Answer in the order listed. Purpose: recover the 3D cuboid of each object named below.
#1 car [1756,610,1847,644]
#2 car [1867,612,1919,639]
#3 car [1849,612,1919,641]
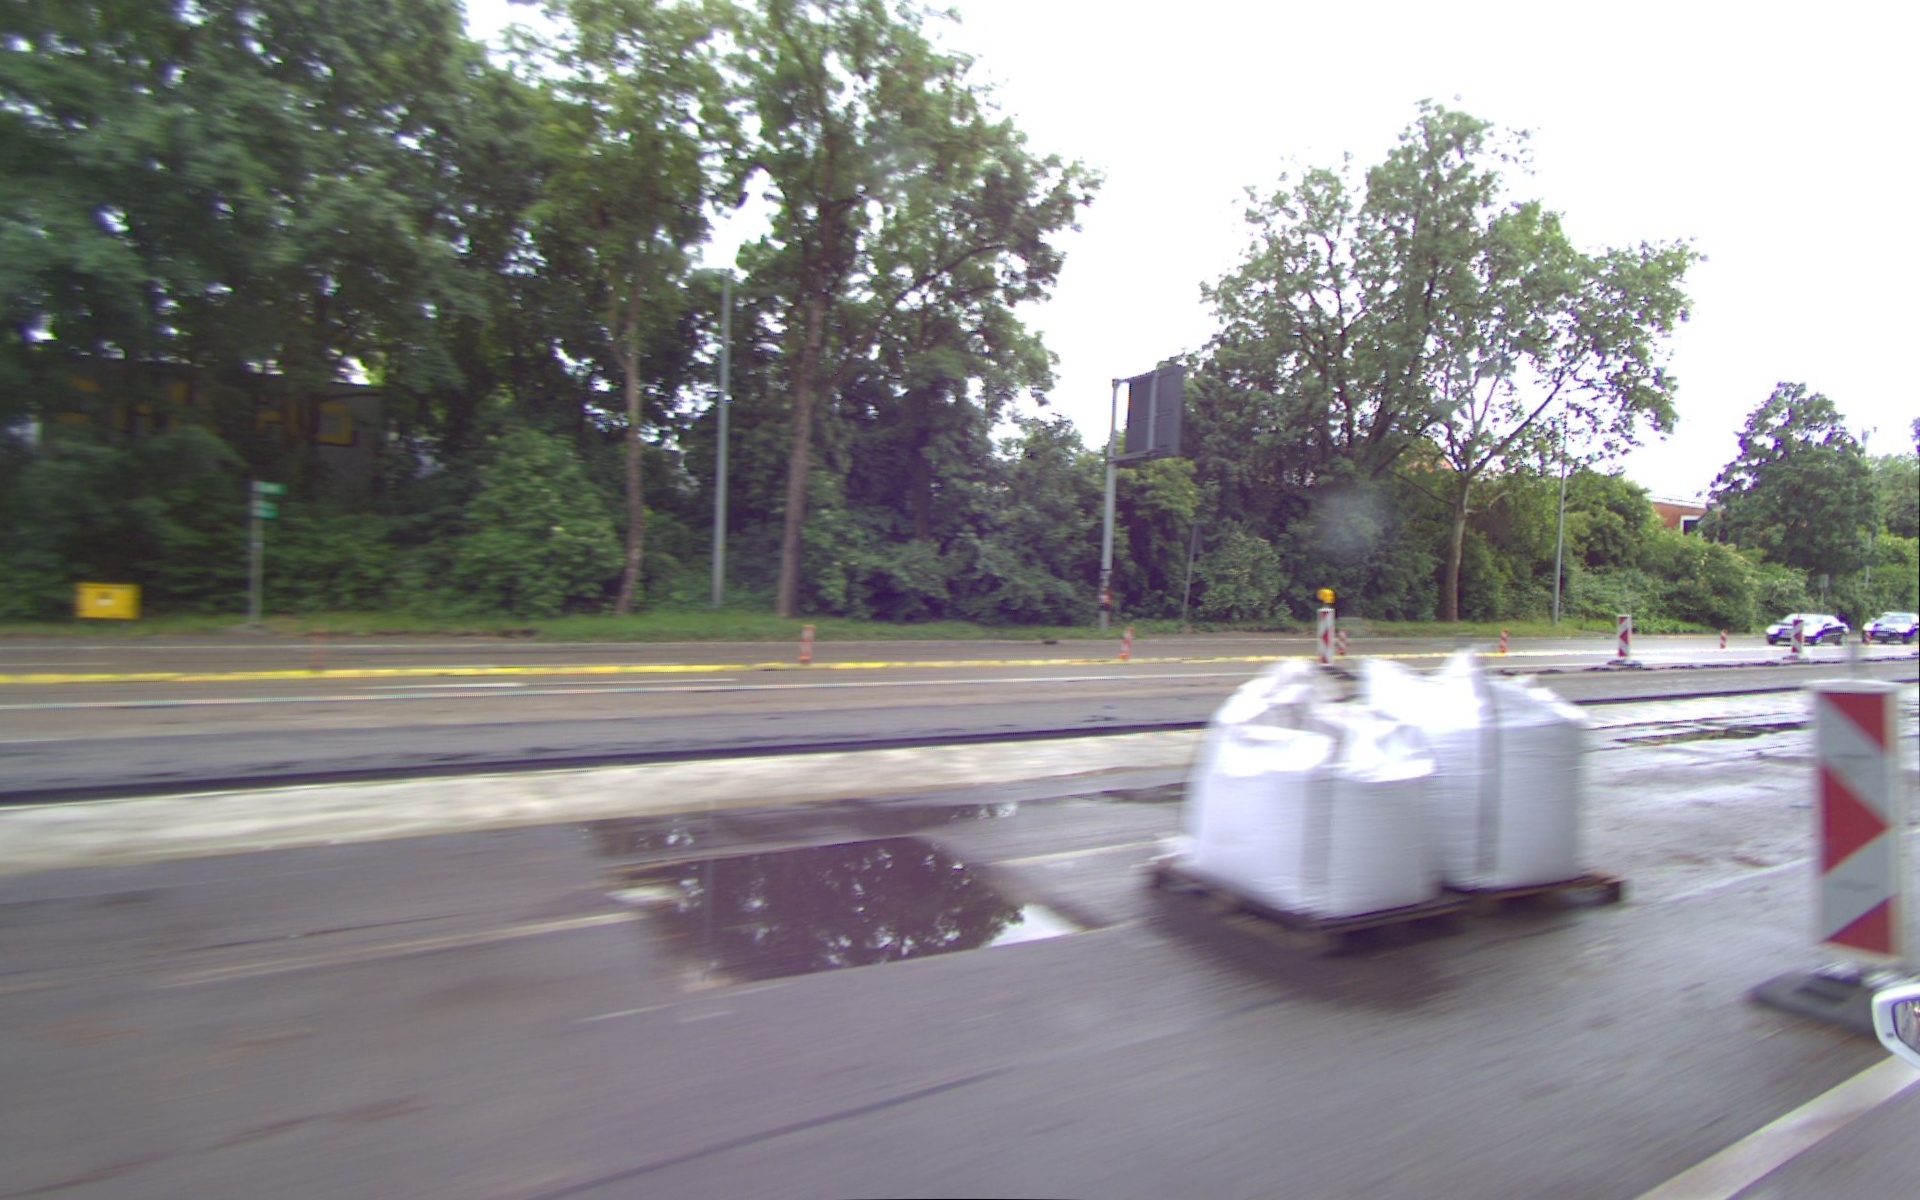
[{"bbox_3d":[36.506,1.161,43.536,4.341,1.373,1.808,1,0,-32],"label":"car"},{"bbox_3d":[54.602,1.460,58.232,4.552,1.439,1.807,1,2,-32],"label":"car"},{"bbox_3d":[46.349,1.318,50.211,4.158,1.373,1.808,1,0,-32],"label":"car"}]
